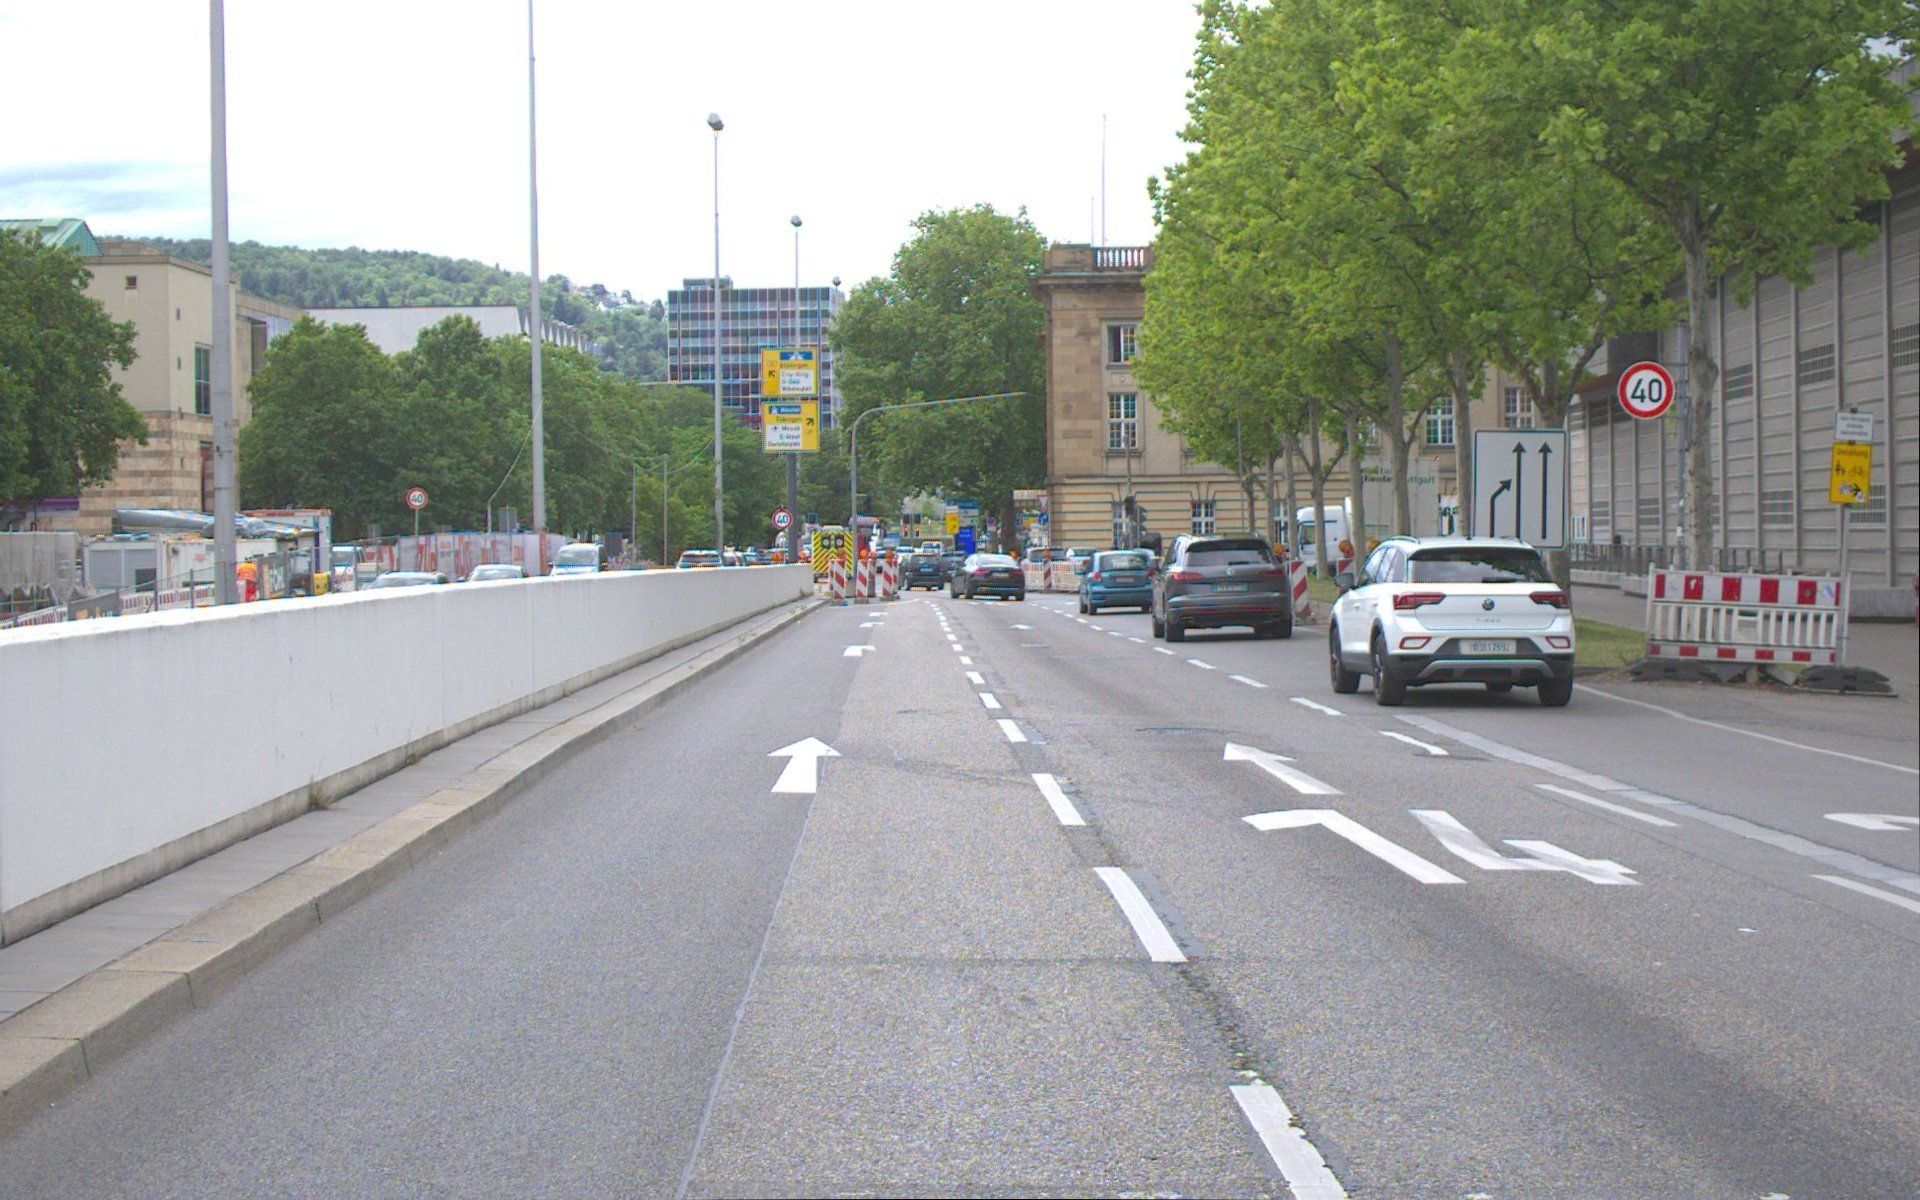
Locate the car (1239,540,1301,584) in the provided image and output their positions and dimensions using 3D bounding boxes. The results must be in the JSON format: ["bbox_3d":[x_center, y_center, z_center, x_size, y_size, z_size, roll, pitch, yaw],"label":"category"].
[{"bbox_3d":[11.243,-1.368,124.832,1.856,1.562,4.331,0,0,0],"label":"car"}]

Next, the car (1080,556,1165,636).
[{"bbox_3d":[3.804,-0.116,79.858,1.823,1.734,4.479,-1,1,4],"label":"car"}]

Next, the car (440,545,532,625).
[{"bbox_3d":[-12.864,-0.435,93.456,1.993,2.006,4.001,-1,2,-1],"label":"car"}]

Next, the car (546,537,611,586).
[{"bbox_3d":[-13.102,-1.335,118.188,1.750,1.562,3.377,-3,1,1],"label":"car"}]

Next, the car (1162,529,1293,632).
[{"bbox_3d":[4.212,-0.315,54.620,1.823,1.562,4.480,0,1,1],"label":"car"}]

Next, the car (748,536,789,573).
[{"bbox_3d":[-8.373,-1.966,150.325,1.750,1.562,4.332,0,0,-3],"label":"car"}]

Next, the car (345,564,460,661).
[{"bbox_3d":[-12.658,0.260,78.262,1.993,2.006,4.001,-1,2,-1],"label":"car"}]

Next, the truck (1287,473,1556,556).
[{"bbox_3d":[17.807,-3.286,132.957,10.029,3.040,2.569,-1,0,1],"label":"truck"}]

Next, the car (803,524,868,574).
[{"bbox_3d":[-6.089,-2.521,169.036,2.582,2.366,5.526,-1,1,4],"label":"car"}]

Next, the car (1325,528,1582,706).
[{"bbox_3d":[4.638,0.119,32.870,1.750,1.562,4.332,1,1,-1],"label":"car"}]

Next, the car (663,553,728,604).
[{"bbox_3d":[-8.683,-0.717,113.009,1.750,1.562,3.377,-3,1,1],"label":"car"}]

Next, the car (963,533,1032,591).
[{"bbox_3d":[1.180,-1.193,106.440,1.823,1.734,4.479,-1,1,4],"label":"car"}]
